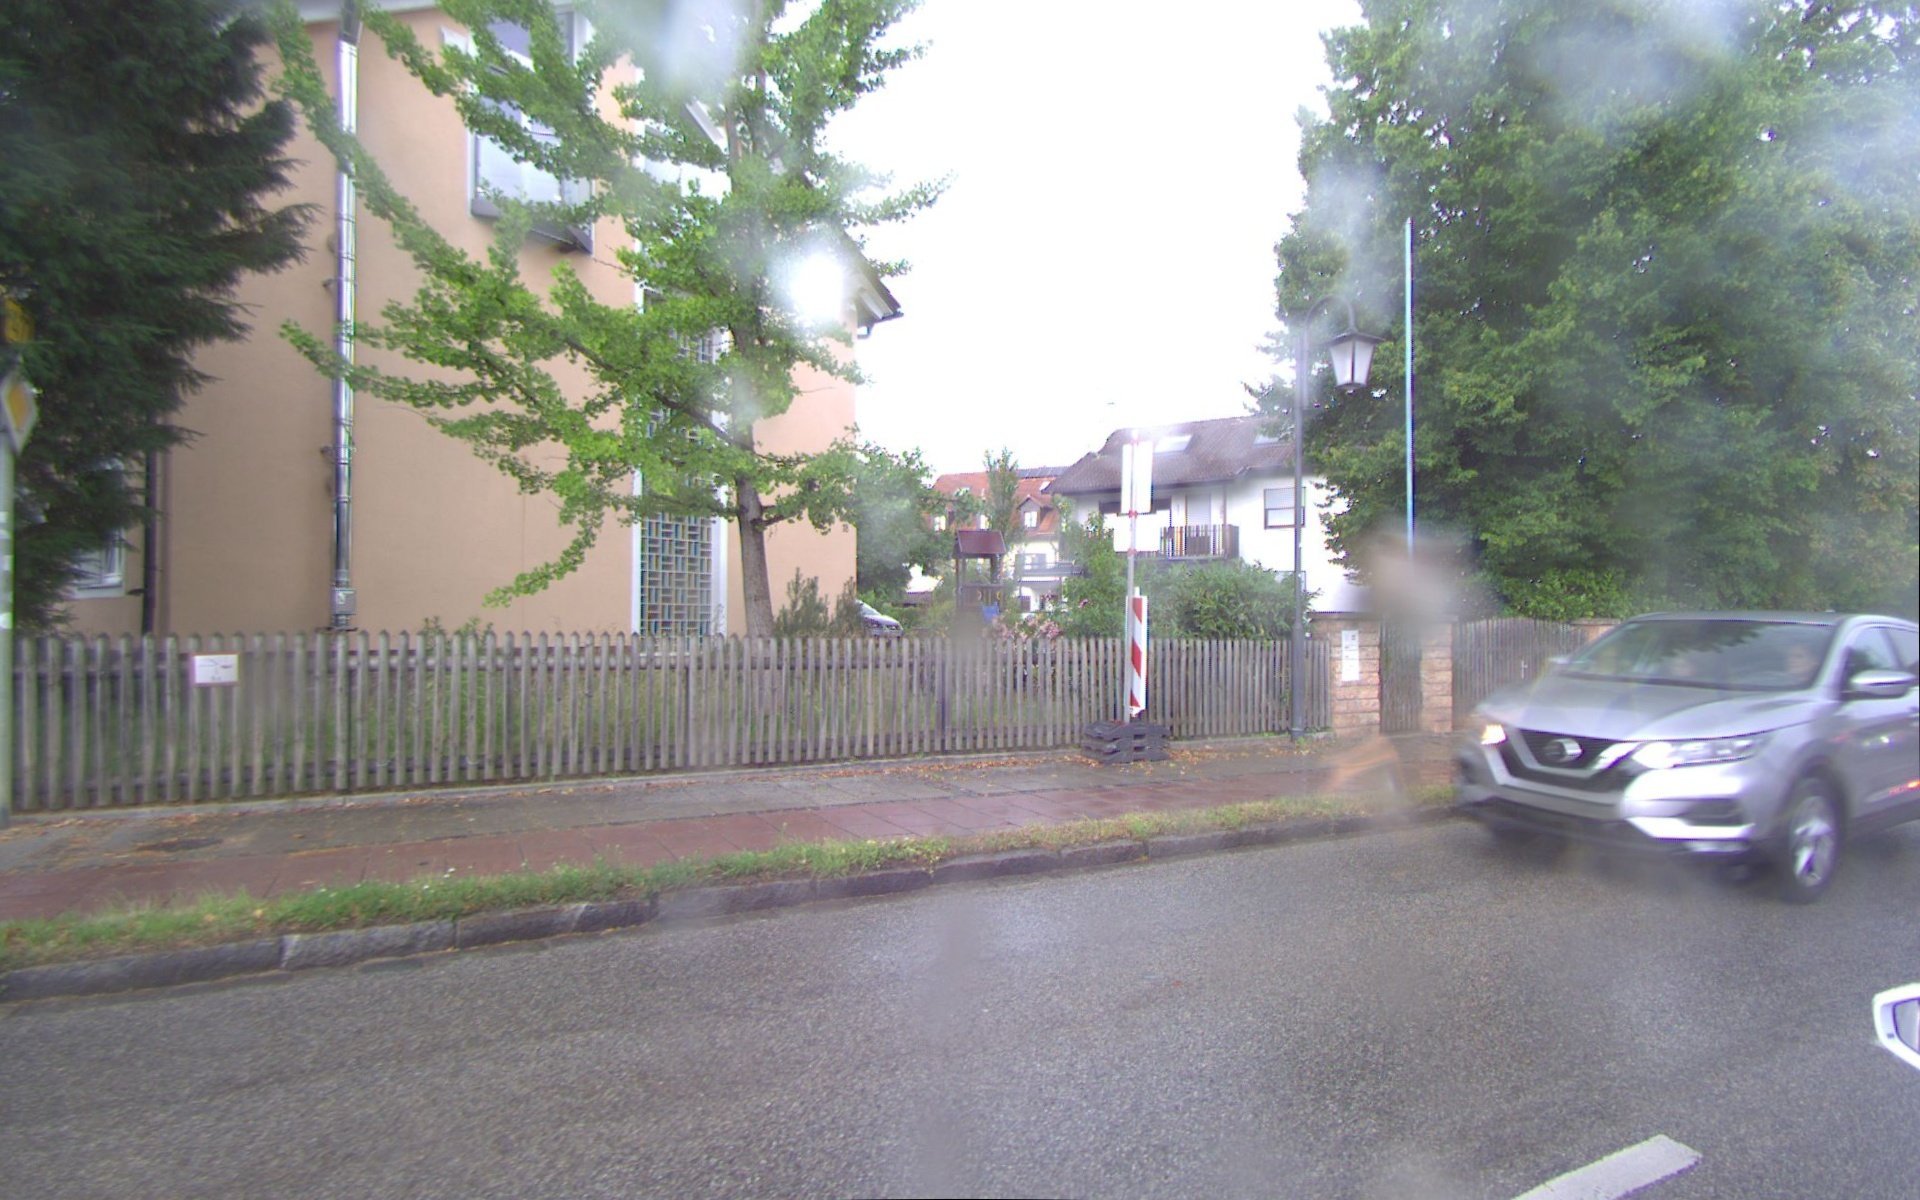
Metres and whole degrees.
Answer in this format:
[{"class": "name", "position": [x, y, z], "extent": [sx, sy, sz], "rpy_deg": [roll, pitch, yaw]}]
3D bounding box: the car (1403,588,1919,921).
[{"class": "car", "position": [5.040, 0.824, 6.633], "extent": [4.129, 1.579, 1.819], "rpy_deg": [2, -2, -30]}]
